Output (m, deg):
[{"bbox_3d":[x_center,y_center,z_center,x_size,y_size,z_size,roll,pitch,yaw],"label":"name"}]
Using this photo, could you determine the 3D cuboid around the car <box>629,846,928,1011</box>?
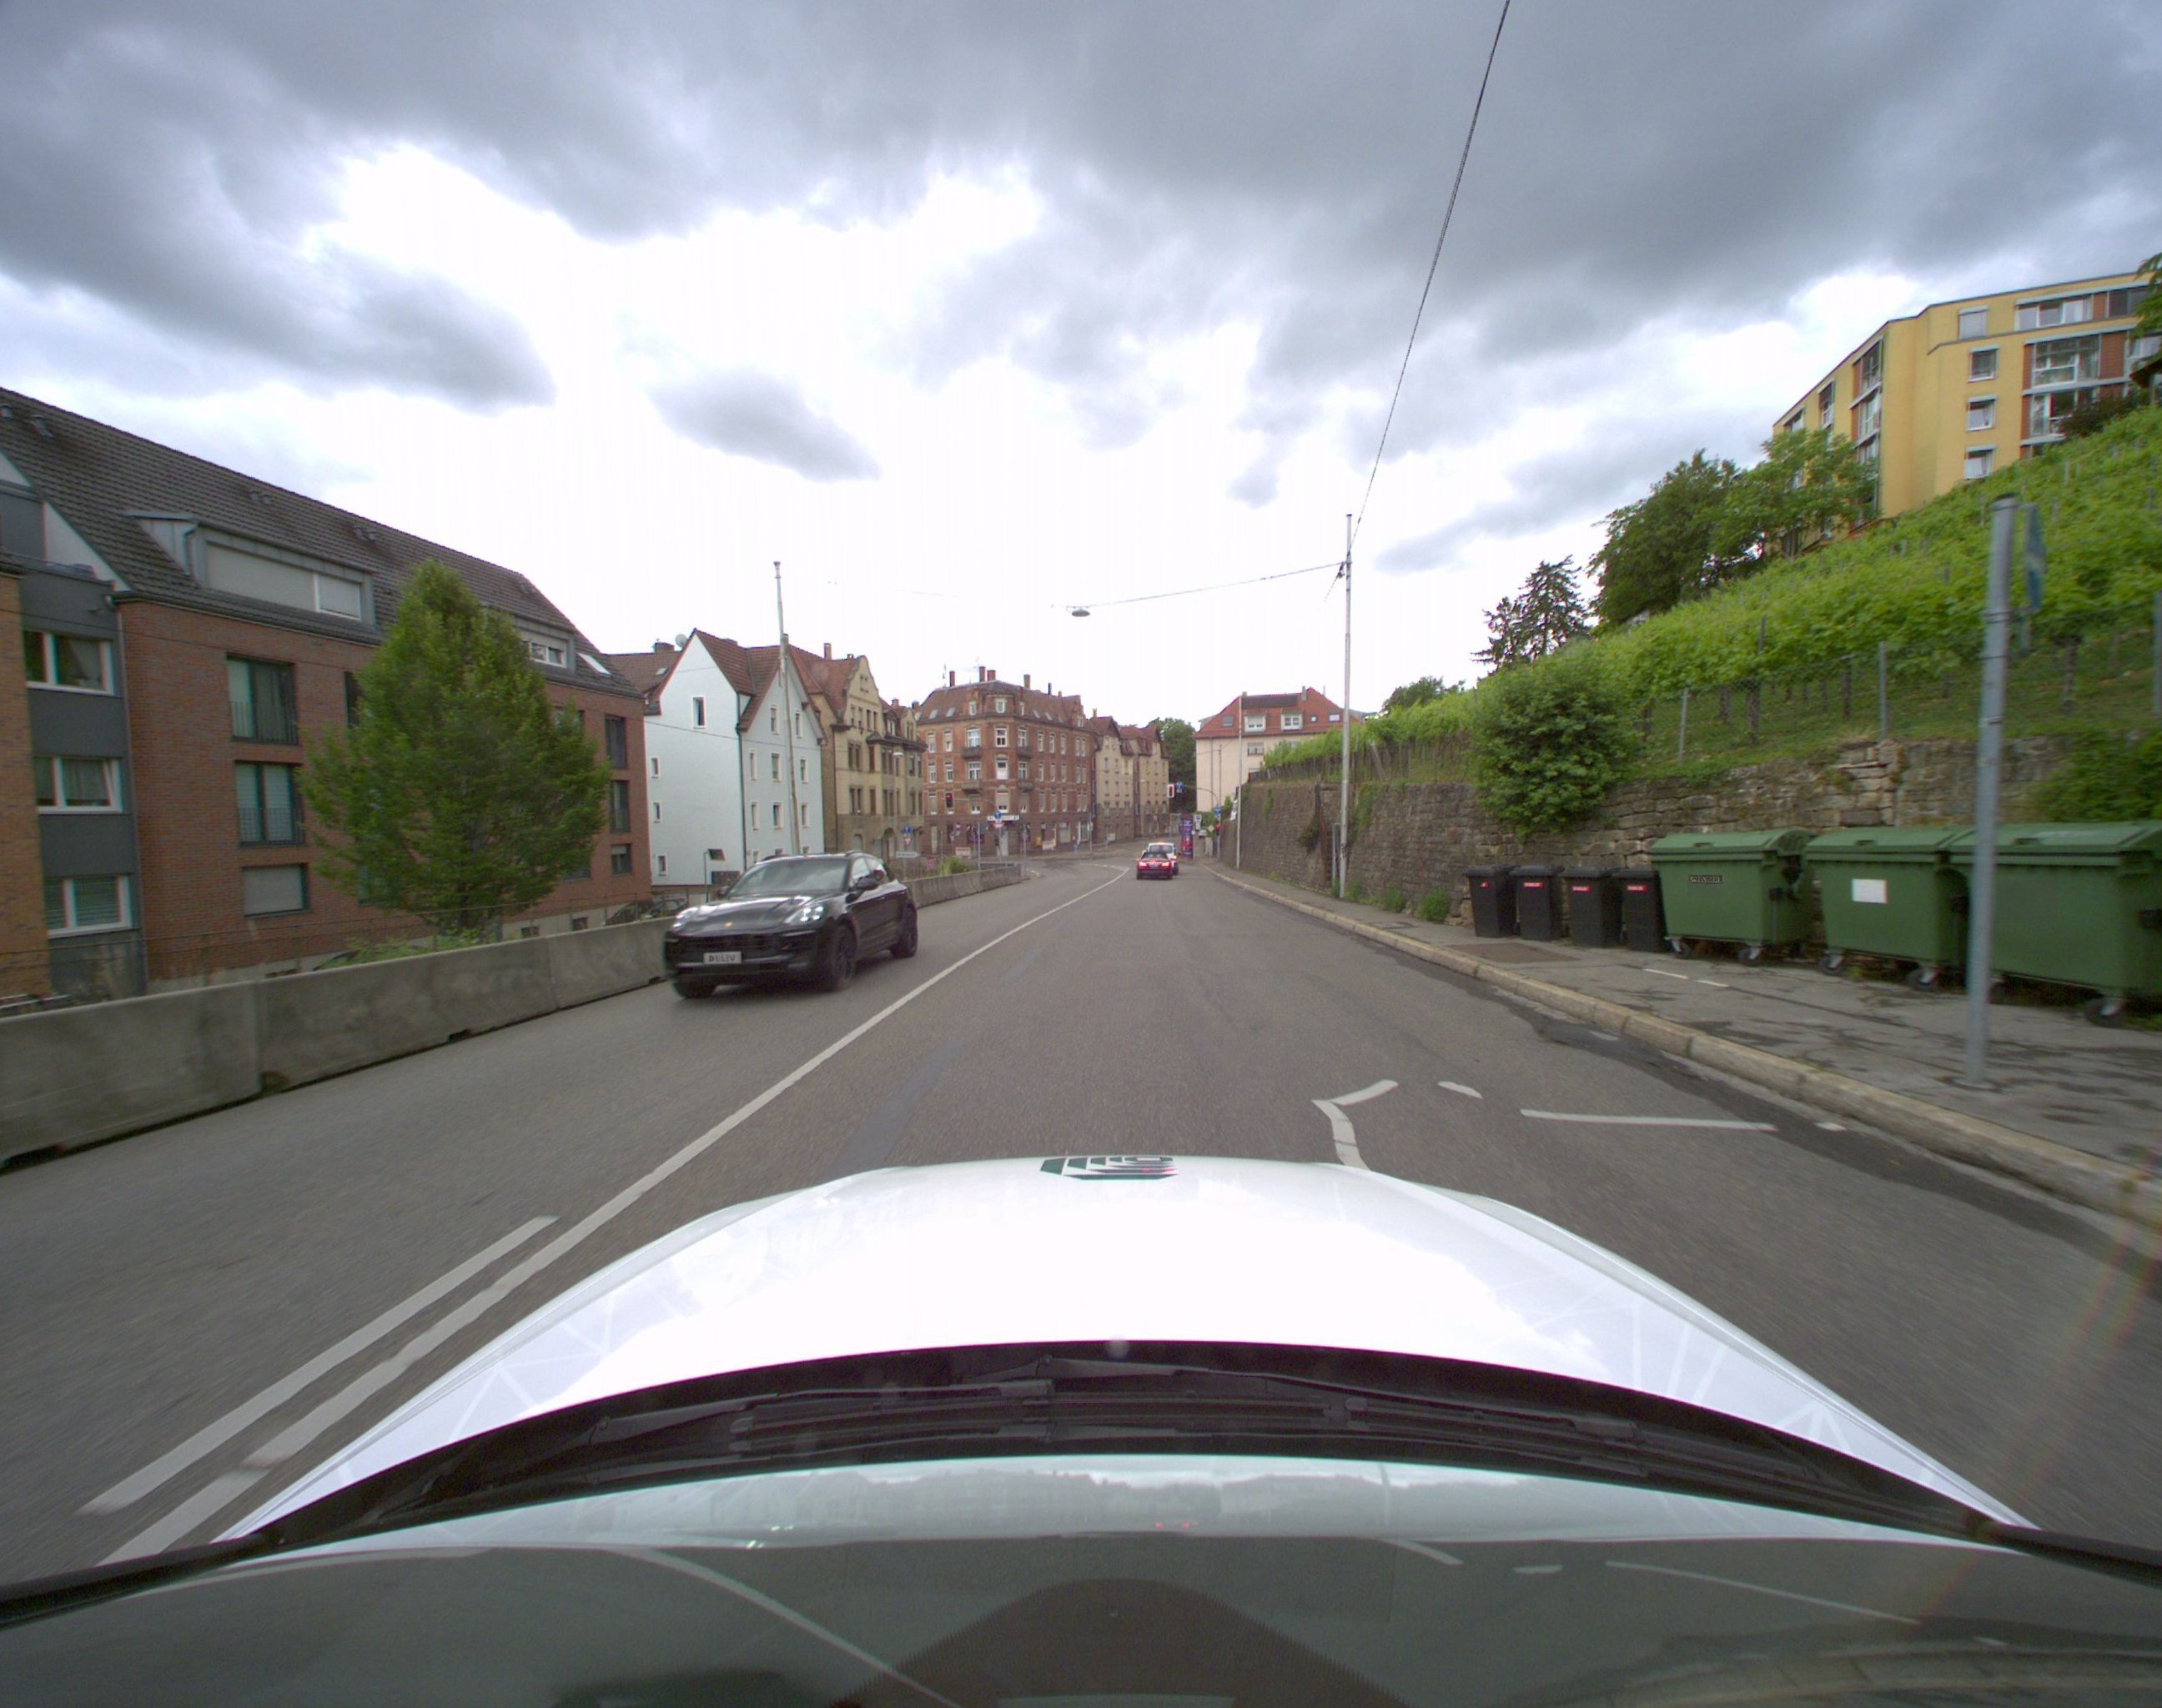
[{"bbox_3d":[-3.560,0.761,10.640,1.973,1.574,4.379,-3,1,3],"label":"car"}]

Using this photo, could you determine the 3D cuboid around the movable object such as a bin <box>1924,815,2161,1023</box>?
[{"bbox_3d":[7.683,0.445,6.312,1.043,1.444,1.205,-1,0,1],"label":"movable object such as a bin"}]

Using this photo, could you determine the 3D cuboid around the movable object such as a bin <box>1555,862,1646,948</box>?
[{"bbox_3d":[6.857,0.654,10.767,0.743,1.058,0.676,-1,0,-14],"label":"movable object such as a bin"}]

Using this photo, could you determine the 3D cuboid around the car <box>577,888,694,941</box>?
[{"bbox_3d":[-17.558,2.355,32.369,1.784,1.608,4.225,-3,1,8],"label":"car"}]

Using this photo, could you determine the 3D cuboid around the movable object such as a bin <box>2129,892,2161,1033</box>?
[{"bbox_3d":[7.619,0.736,5.364,0.592,0.942,0.640,-1,0,1],"label":"movable object such as a bin"}]

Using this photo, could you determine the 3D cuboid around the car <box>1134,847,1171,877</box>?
[{"bbox_3d":[3.659,0.369,41.717,1.808,1.430,4.006,0,1,5],"label":"car"}]

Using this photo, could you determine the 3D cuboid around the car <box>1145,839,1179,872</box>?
[{"bbox_3d":[4.817,0.055,48.568,1.900,1.883,4.006,0,1,5],"label":"car"}]

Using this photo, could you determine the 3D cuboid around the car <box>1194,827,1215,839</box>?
[{"bbox_3d":[17.889,-3.087,117.894,1.824,1.702,4.025,0,3,27],"label":"car"}]

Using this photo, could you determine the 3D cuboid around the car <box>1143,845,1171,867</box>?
[{"bbox_3d":[5.169,0.100,55.464,1.832,1.441,4.006,0,1,5],"label":"car"}]

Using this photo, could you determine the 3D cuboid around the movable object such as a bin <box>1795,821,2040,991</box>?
[{"bbox_3d":[7.764,0.445,7.645,1.044,1.444,1.204,-1,0,-2],"label":"movable object such as a bin"}]

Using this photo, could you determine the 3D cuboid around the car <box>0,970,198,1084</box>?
[{"bbox_3d":[-19.591,3.264,15.071,1.784,1.510,4.010,-3,1,8],"label":"car"}]

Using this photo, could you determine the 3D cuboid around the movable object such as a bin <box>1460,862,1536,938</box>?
[{"bbox_3d":[6.225,0.667,12.177,0.743,1.058,0.676,-1,0,-14],"label":"movable object such as a bin"}]

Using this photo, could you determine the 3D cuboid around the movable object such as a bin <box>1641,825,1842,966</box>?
[{"bbox_3d":[7.398,0.422,9.206,1.049,1.444,1.412,-1,0,-14],"label":"movable object such as a bin"}]

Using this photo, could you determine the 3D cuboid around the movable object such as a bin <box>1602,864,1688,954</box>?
[{"bbox_3d":[7.033,0.667,10.165,0.710,1.058,0.544,-1,0,-15],"label":"movable object such as a bin"}]

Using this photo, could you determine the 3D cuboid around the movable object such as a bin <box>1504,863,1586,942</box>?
[{"bbox_3d":[6.561,0.668,11.538,0.743,1.058,0.676,-1,0,-14],"label":"movable object such as a bin"}]
